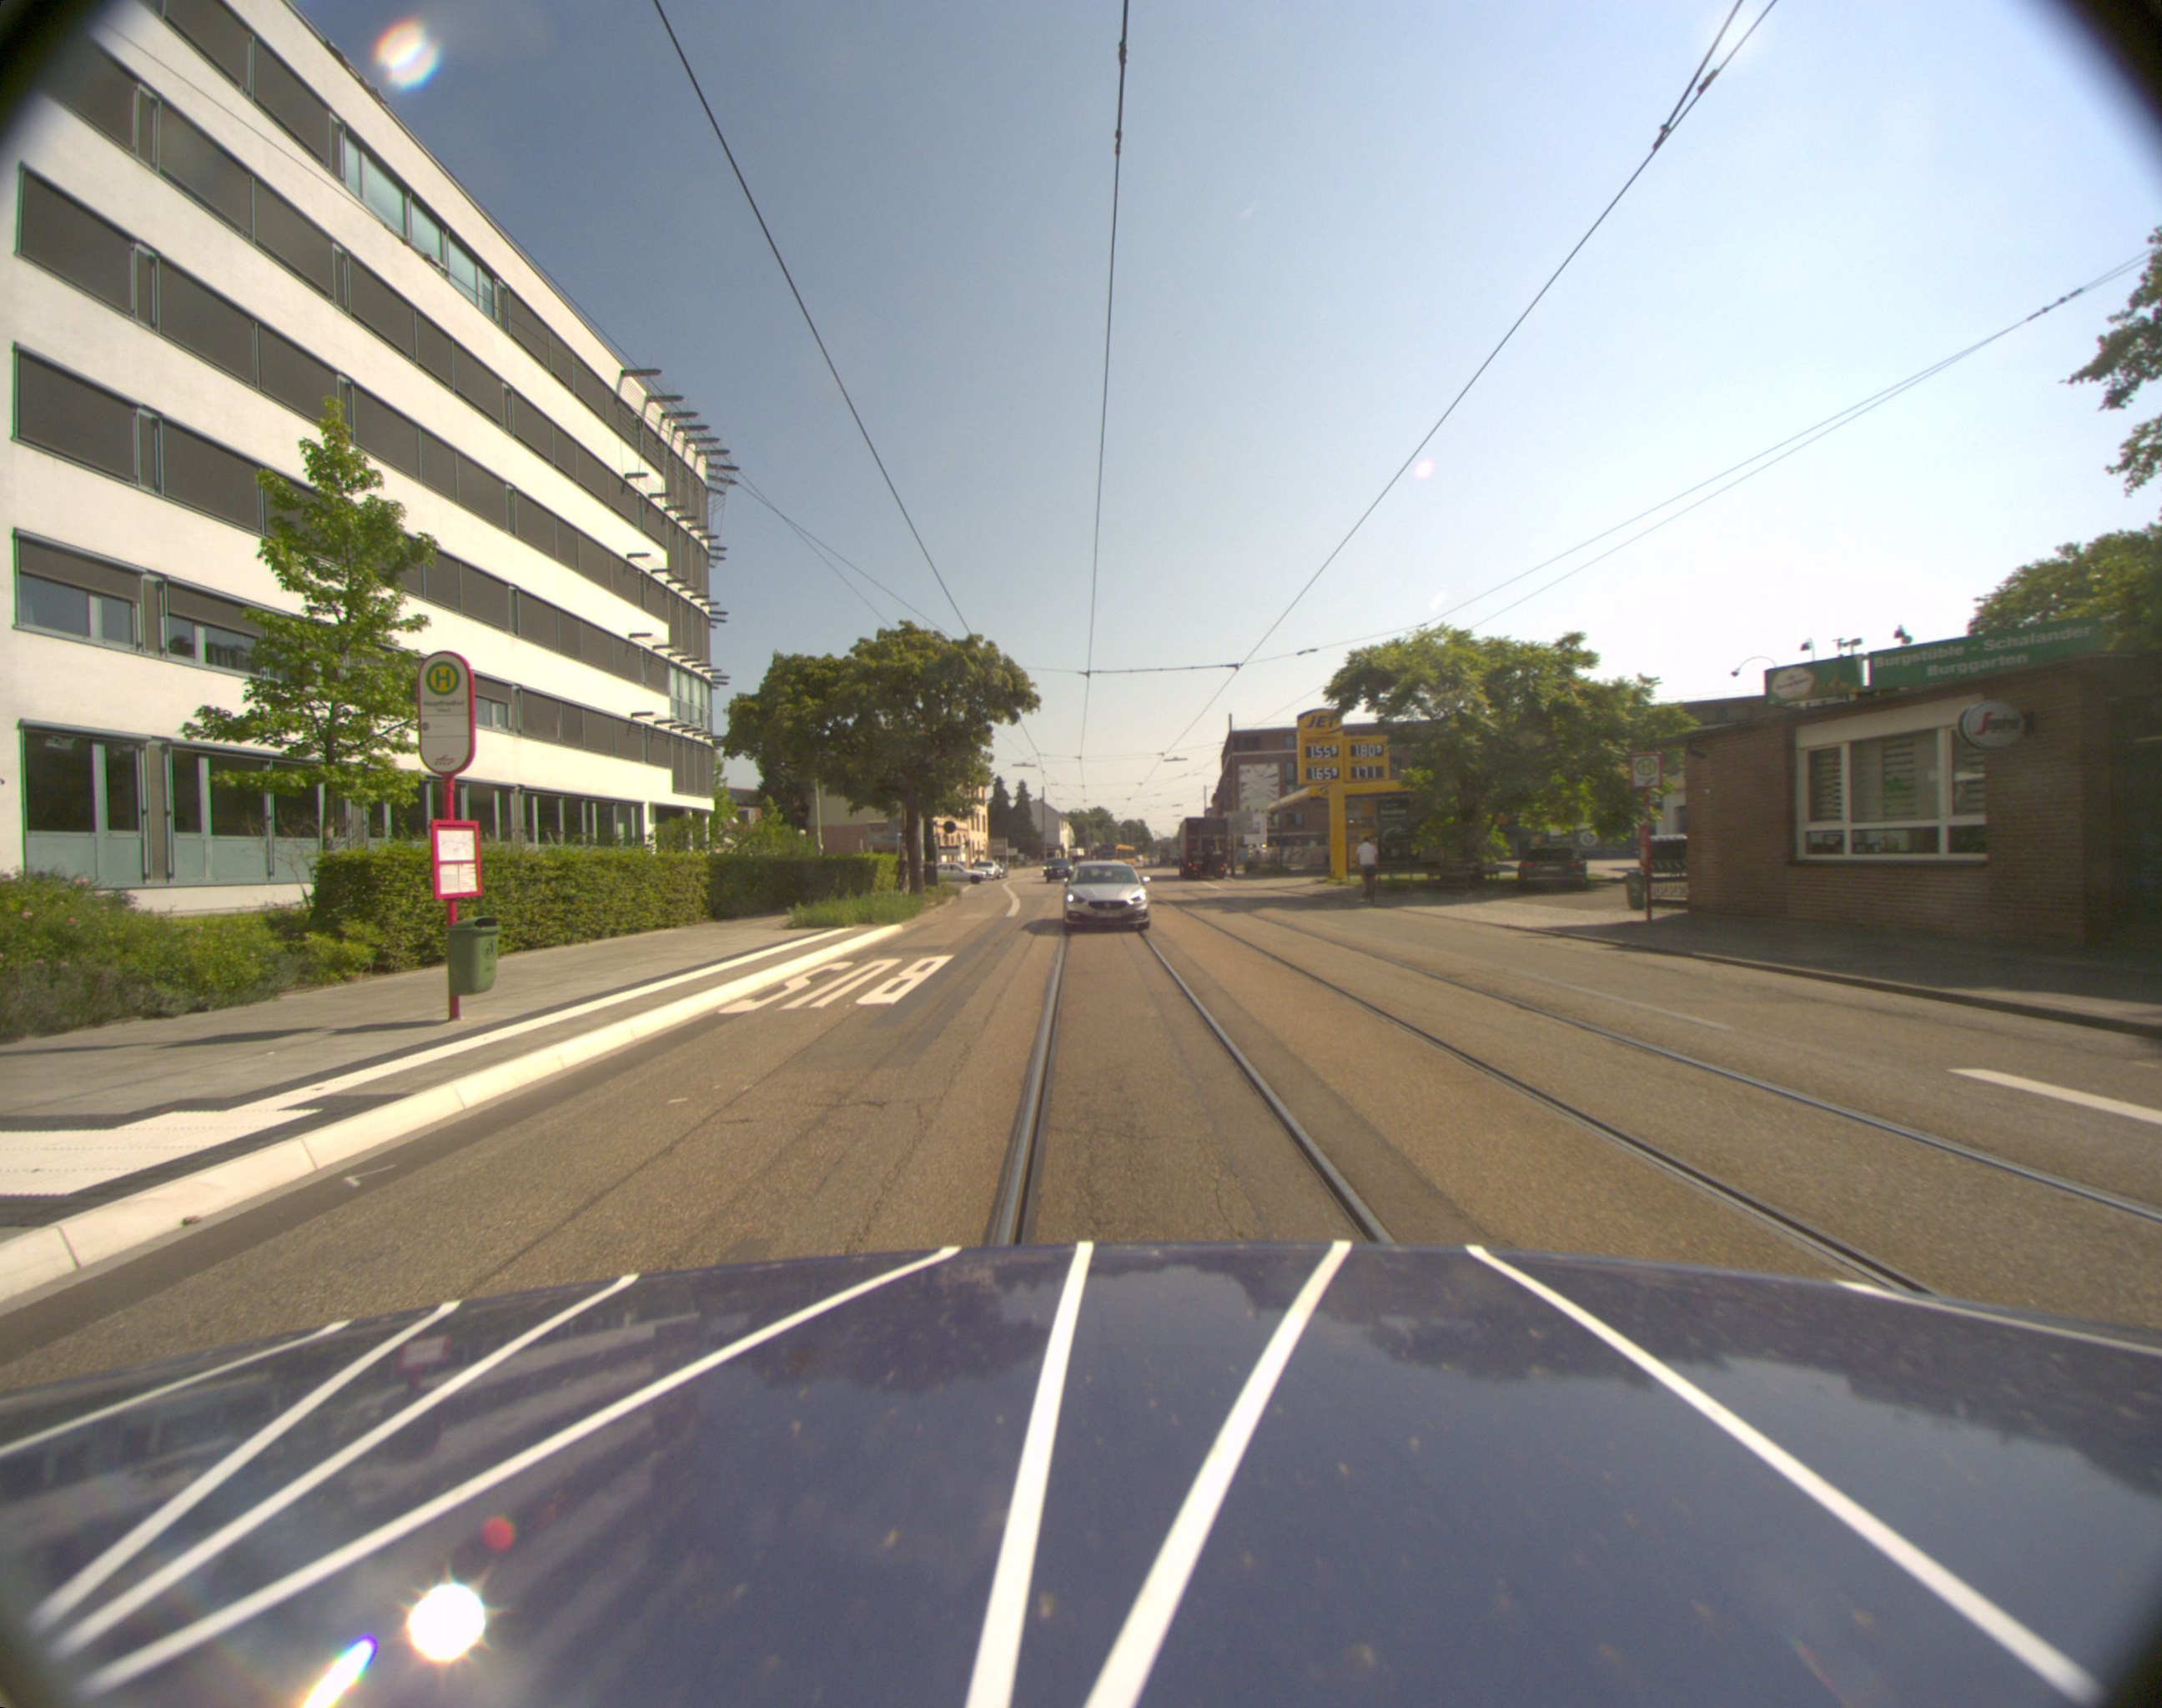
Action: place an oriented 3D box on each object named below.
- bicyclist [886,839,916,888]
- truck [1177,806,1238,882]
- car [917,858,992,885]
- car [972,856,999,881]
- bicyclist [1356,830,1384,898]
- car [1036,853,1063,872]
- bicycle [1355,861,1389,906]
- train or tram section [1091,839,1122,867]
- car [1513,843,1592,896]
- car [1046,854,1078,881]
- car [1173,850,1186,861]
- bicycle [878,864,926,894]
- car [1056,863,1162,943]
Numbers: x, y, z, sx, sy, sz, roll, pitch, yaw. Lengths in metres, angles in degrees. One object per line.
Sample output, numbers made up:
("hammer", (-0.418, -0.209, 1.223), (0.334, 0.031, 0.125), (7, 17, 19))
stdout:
("bicyclist", (-7.538, 0.398, 31.876), (0.782, 2.002, 1.275), (-2, 1, 8))
("truck", (8.573, -0.655, 53.500), (3.171, 4.427, 16.846), (-2, 0, 6))
("car", (-8.079, 1.105, 48.876), (4.552, 1.506, 1.960), (-2, 1, -5))
("car", (-7.864, 1.139, 62.901), (1.961, 1.910, 4.552), (-2, 0, -5))
("bicyclist", (8.364, 0.287, 21.986), (0.641, 1.918, 1.177), (-1, 1, 24))
("car", (-2.929, 0.775, 72.725), (2.261, 1.660, 5.652), (-2, 0, 0))
("bicycle", (8.436, 0.833, 22.008), (0.786, 1.233, 2.037), (-1, 0, 24))
("train or tram section", (3.777, -0.171, 115.606), (4.111, 3.711, 24.378), (-2, 0, 2))
("car", (14.908, 0.426, 23.910), (1.932, 1.452, 4.536), (-1, 1, 34))
("car", (-1.165, 0.838, 47.956), (1.834, 1.543, 4.032), (-2, 0, 0))
("car", (15.130, 0.234, 116.661), (1.778, 1.657, 4.002), (-2, 0, 9))
("bicycle", (-7.505, 1.016, 32.013), (1.137, 1.118, 2.538), (-2, 0, 7))
("car", (0.506, 0.916, 16.239), (1.928, 1.465, 4.817), (0, -1, 0))
